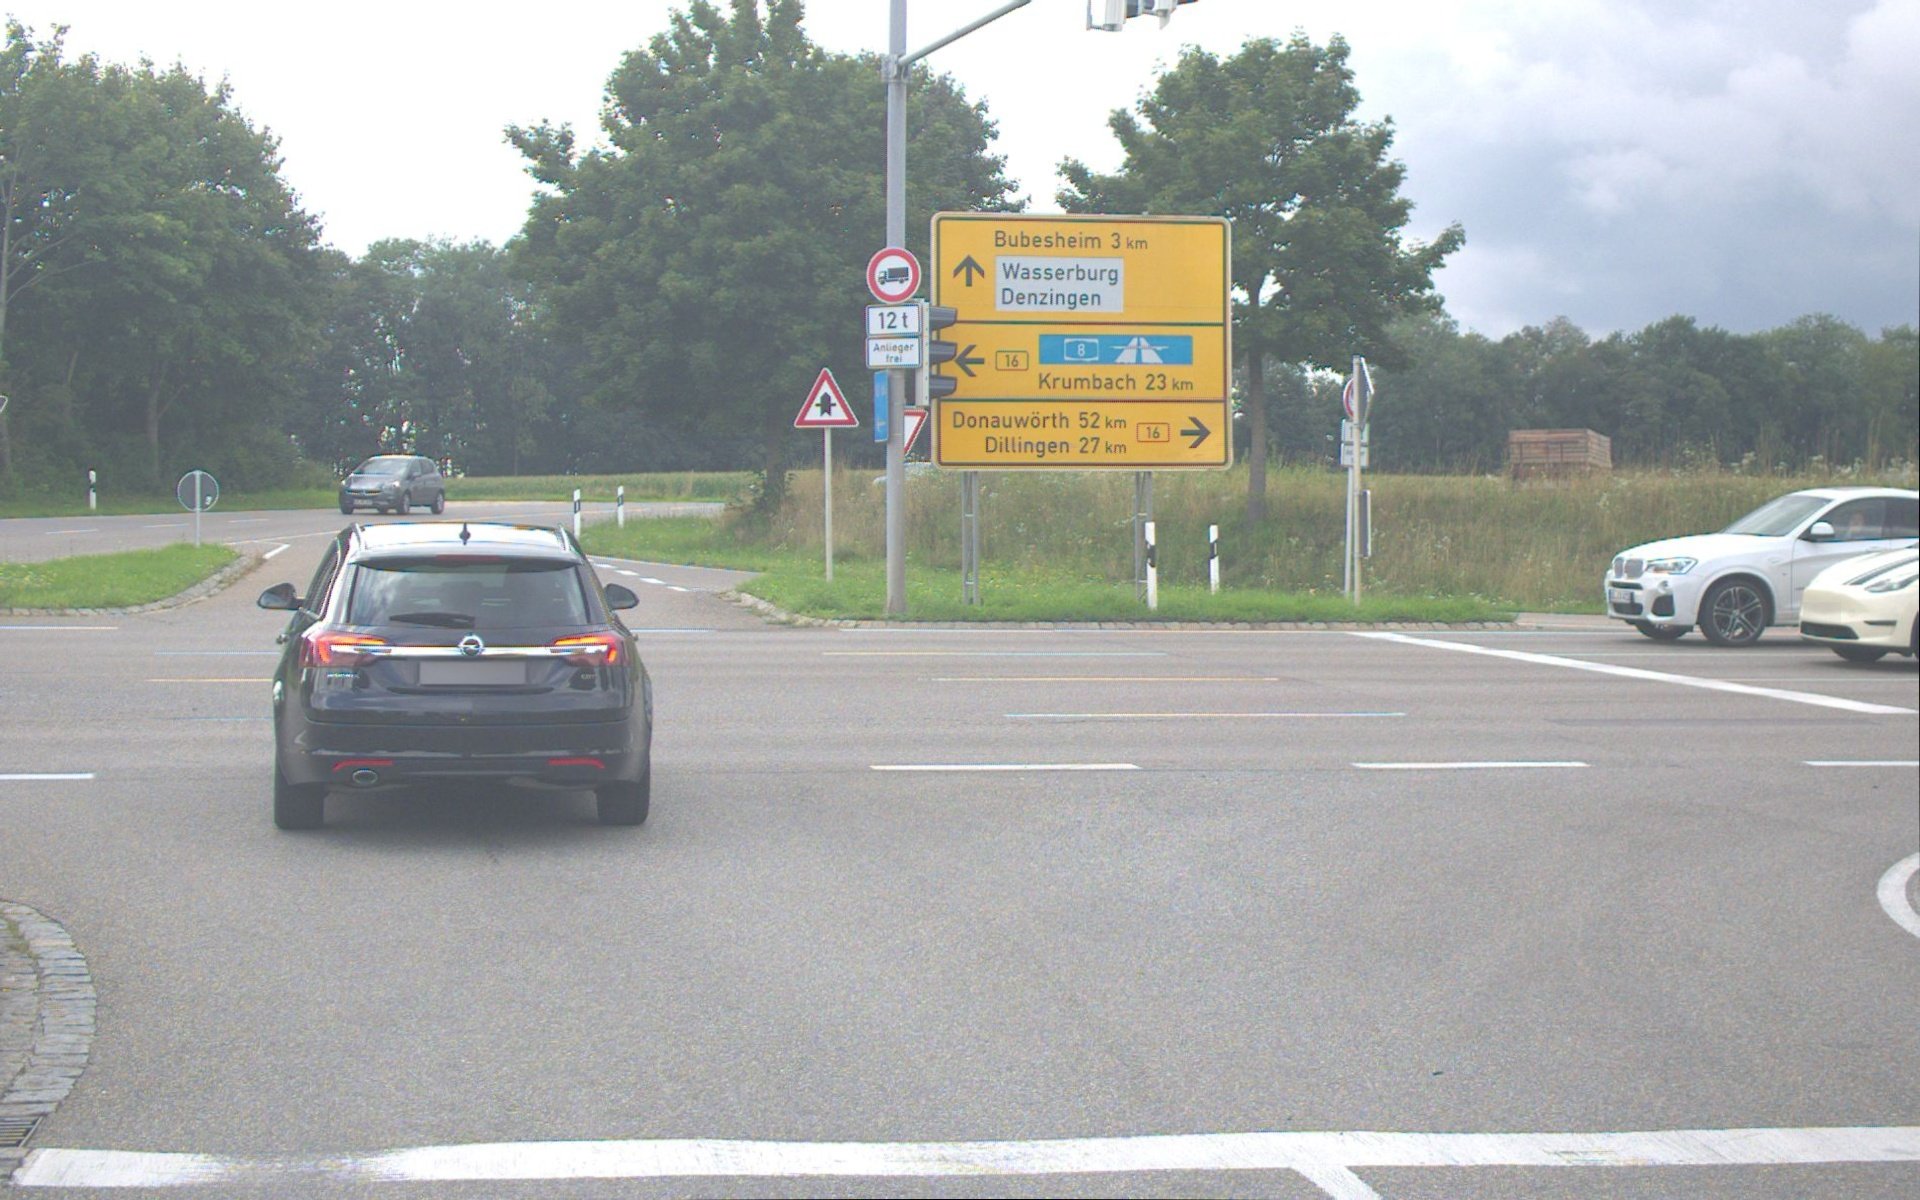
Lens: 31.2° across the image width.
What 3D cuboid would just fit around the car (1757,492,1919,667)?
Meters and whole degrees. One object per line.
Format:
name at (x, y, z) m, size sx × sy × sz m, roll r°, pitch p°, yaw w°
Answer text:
car at (10.098, -0.189, 32.165) m, size 4.731 × 1.559 × 2.001 m, roll 0°, pitch 1°, yaw -14°

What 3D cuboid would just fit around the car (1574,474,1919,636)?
car at (8.809, -0.462, 35.887) m, size 4.259 × 1.623 × 2.001 m, roll 0°, pitch 1°, yaw -14°

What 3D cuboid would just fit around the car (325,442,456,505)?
car at (-14.455, -3.195, 87.460) m, size 1.994 × 1.530 × 3.998 m, roll 1°, pitch 1°, yaw 11°

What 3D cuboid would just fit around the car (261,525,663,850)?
car at (-2.622, 0.357, 17.824) m, size 1.807 × 1.446 × 4.274 m, roll 0°, pitch 1°, yaw -10°
